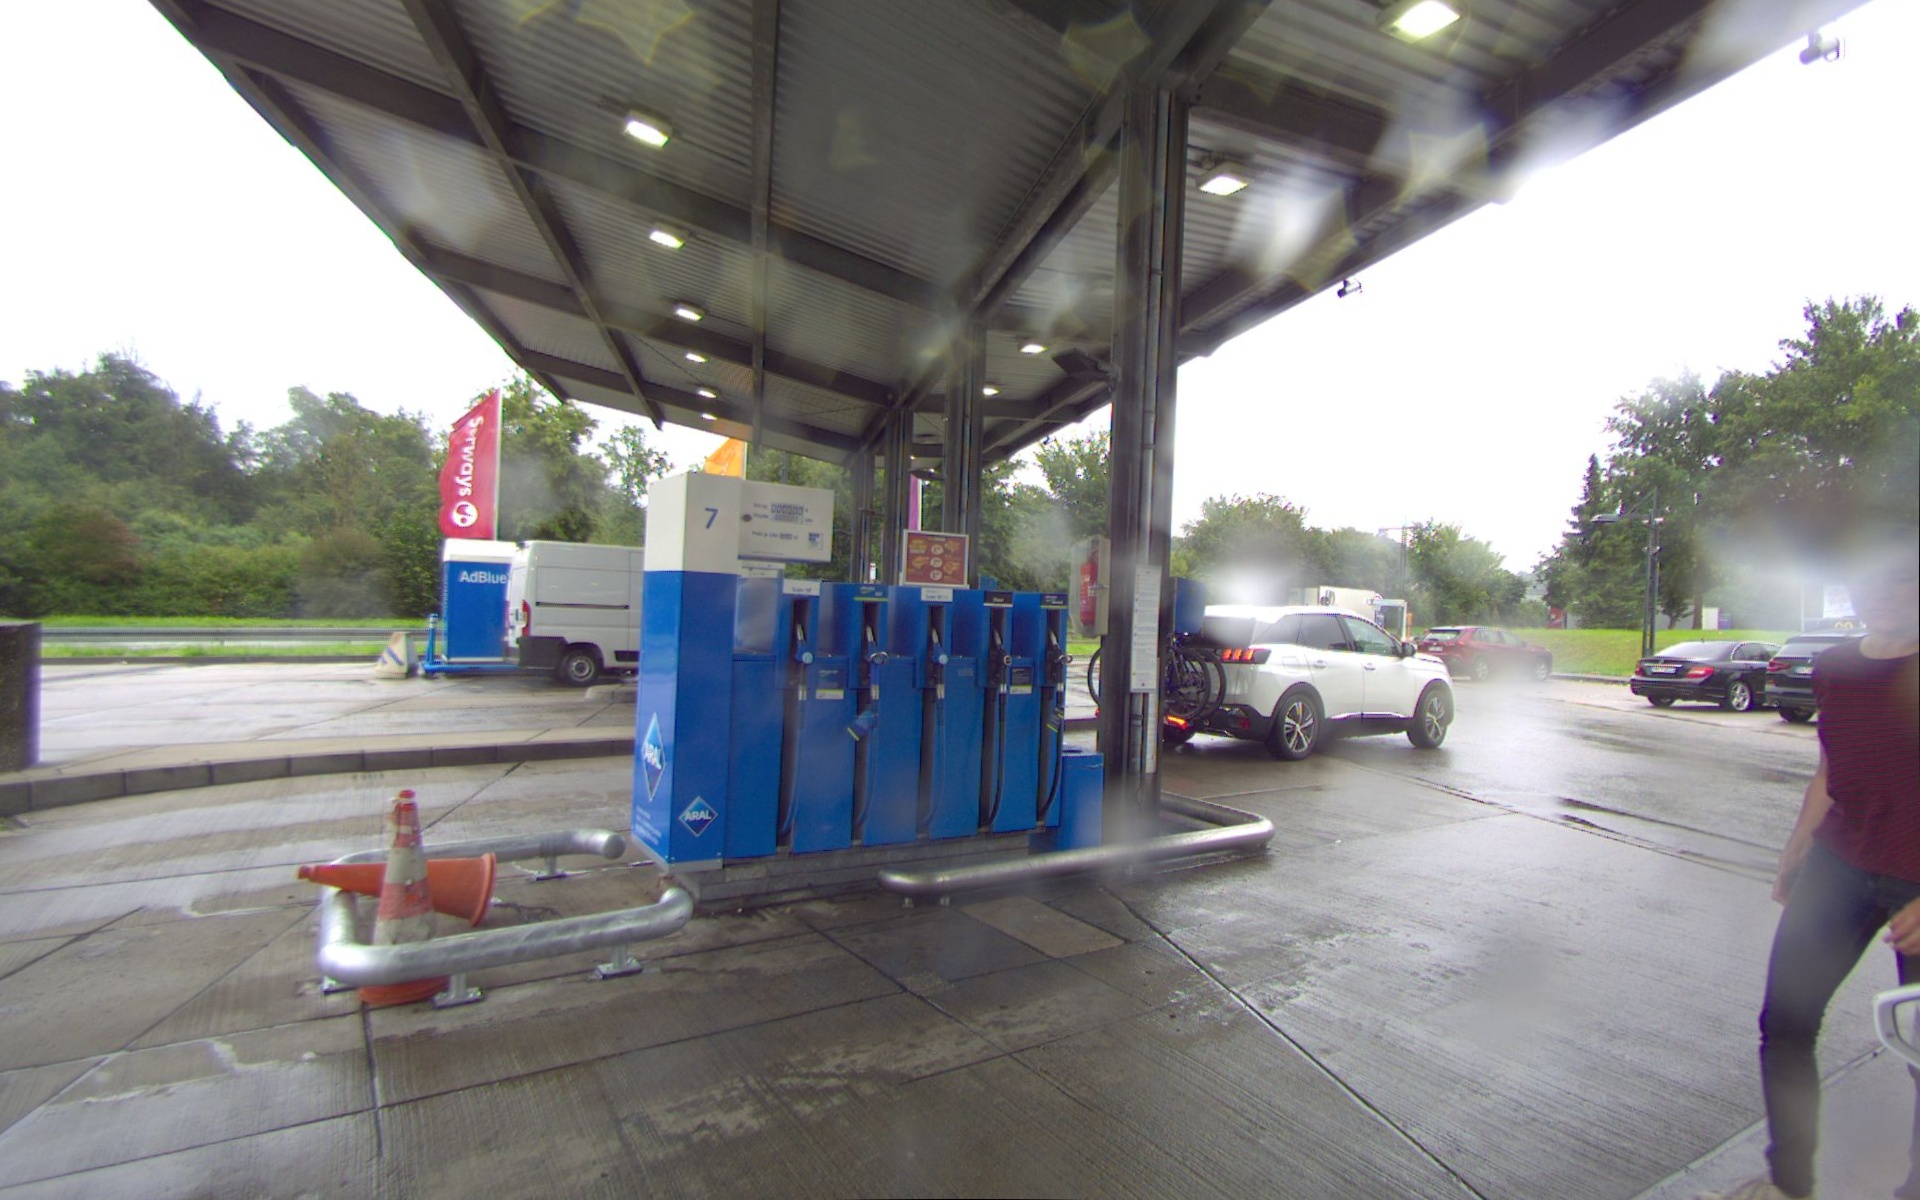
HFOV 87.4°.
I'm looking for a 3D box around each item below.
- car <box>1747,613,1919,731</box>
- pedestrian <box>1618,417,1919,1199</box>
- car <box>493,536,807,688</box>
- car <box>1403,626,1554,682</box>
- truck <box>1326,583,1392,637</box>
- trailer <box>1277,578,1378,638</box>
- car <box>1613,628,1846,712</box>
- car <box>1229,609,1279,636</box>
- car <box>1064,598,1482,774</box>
[{"bbox_3d":[16.151,1.185,17.412,4.344,1.852,1.883,1,-1,-19],"label":"car"},{"bbox_3d":[2.102,0.548,2.178,0.827,1.757,0.793,1,-1,-21],"label":"pedestrian"},{"bbox_3d":[-5.774,0.263,18.963,5.227,2.496,2.306,1,-1,-34],"label":"car"},{"bbox_3d":[16.000,1.640,30.978,4.294,1.617,1.879,1,-1,-24],"label":"car"},{"bbox_3d":[35.578,0.910,89.469,3.416,4.618,6.704,2,0,40],"label":"truck"},{"bbox_3d":[30.906,0.740,83.865,3.416,4.618,13.847,2,0,40],"label":"trailer"},{"bbox_3d":[15.938,1.413,20.831,4.119,1.585,1.883,1,-1,-19],"label":"car"},{"bbox_3d":[20.782,1.583,70.962,1.903,1.862,4.373,1,0,38],"label":"car"},{"bbox_3d":[3.652,0.835,11.284,4.953,1.586,1.802,1,0,-35],"label":"car"}]
